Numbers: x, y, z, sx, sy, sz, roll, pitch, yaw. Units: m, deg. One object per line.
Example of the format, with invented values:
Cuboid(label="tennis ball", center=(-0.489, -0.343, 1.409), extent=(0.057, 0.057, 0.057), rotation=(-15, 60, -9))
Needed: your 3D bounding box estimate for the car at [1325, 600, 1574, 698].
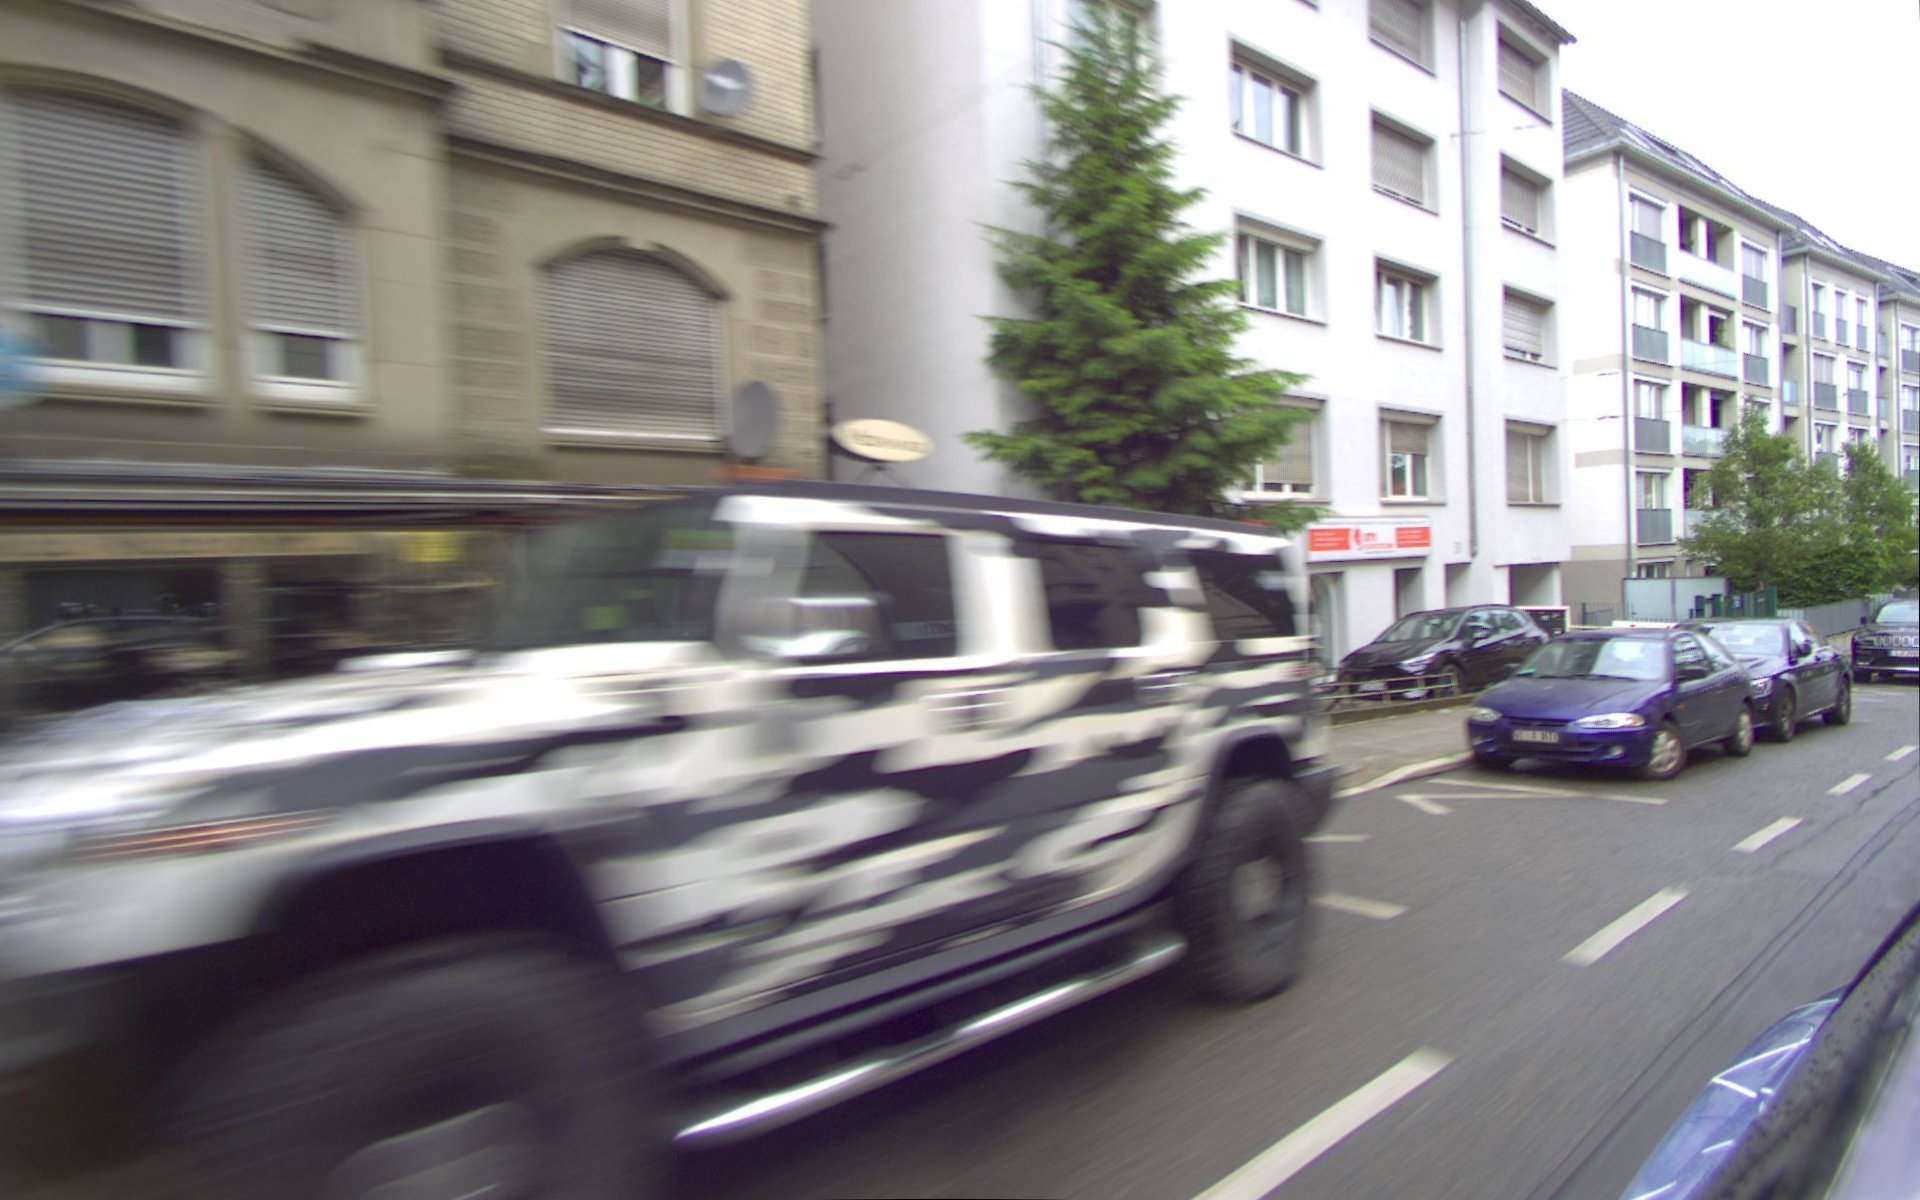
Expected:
Cuboid(label="car", center=(8.151, 0.759, 16.769), extent=(4.072, 1.445, 1.818), rotation=(0, -3, -33))

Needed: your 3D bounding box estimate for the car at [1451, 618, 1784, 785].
Cuboid(label="car", center=(6.804, 0.891, 10.346), extent=(3.811, 1.355, 1.682), rotation=(0, -1, -38))

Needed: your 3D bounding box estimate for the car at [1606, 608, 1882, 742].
Cuboid(label="car", center=(10.375, 0.850, 13.271), extent=(4.526, 1.455, 1.798), rotation=(0, -1, -38))

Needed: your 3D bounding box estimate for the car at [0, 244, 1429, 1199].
Cuboid(label="car", center=(-0.385, 0.526, 3.919), extent=(5.260, 2.040, 2.130), rotation=(0, -3, -43))

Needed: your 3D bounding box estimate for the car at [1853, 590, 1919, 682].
Cuboid(label="car", center=(20.846, 0.695, 21.537), extent=(4.734, 1.818, 1.946), rotation=(-1, -1, -39))

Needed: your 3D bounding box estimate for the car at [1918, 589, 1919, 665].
Cuboid(label="car", center=(25.157, 0.645, 24.803), extent=(4.389, 1.818, 1.783), rotation=(0, -1, -38))
